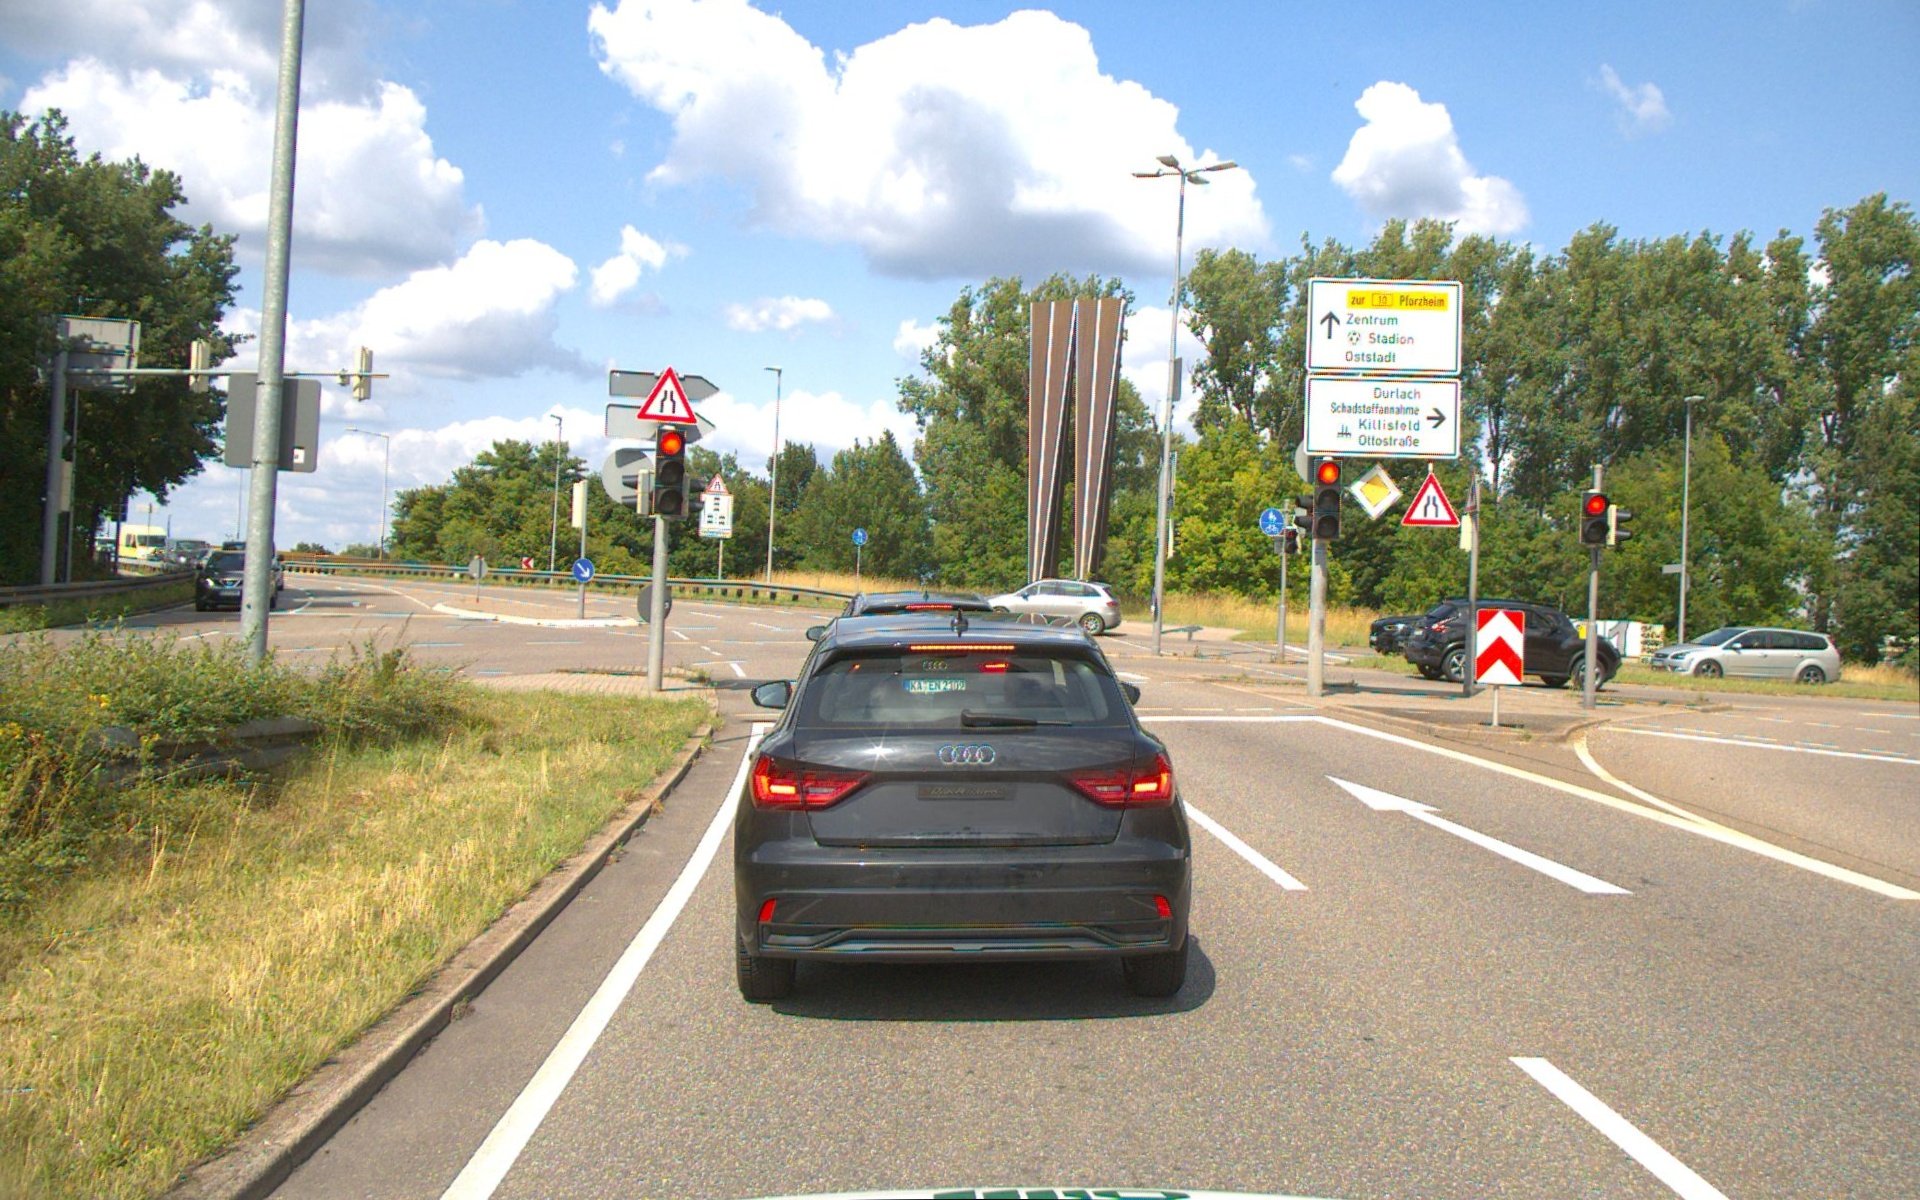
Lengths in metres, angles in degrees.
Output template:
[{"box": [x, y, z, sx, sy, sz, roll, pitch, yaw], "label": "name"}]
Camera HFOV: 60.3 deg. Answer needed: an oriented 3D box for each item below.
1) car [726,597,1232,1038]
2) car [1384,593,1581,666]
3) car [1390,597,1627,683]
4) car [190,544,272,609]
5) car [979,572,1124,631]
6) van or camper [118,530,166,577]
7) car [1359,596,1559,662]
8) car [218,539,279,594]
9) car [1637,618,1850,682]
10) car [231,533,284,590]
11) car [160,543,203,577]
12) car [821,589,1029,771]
[{"box": [0.035, 0.721, 7.523, 1.691, 1.429, 3.999, 0, 1, -1], "label": "car"}, {"box": [12.598, 0.695, 40.059, 4.182, 1.572, 1.736, 2, 0, -2], "label": "car"}, {"box": [10.527, 0.749, 31.914, 3.878, 1.443, 1.952, 2, 0, -3], "label": "car"}, {"box": [-19.892, -0.600, 45.243, 1.813, 1.646, 3.974, 2, -1, -21], "label": "car"}, {"box": [2.707, 0.037, 48.298, 4.019, 1.522, 2.002, 2, 0, 7], "label": "car"}, {"box": [-50.390, -2.847, 101.823, 1.974, 2.730, 6.788, 2, 0, -32], "label": "van or camper"}, {"box": [13.210, 0.753, 43.922, 4.750, 1.572, 1.736, 2, 0, -2], "label": "car"}, {"box": [-25.384, -1.182, 59.085, 1.817, 1.833, 4.299, 2, 0, -22], "label": "car"}, {"box": [19.060, 1.202, 40.338, 4.384, 1.343, 1.735, 2, 0, -4], "label": "car"}, {"box": [-28.230, -1.534, 66.385, 1.819, 2.137, 4.293, 2, 0, -24], "label": "car"}, {"box": [-42.153, -2.139, 89.481, 1.823, 1.735, 4.286, 2, 0, -29], "label": "car"}, {"box": [-0.439, 0.632, 15.316, 1.692, 1.448, 3.841, 0, 1, -5], "label": "car"}]
